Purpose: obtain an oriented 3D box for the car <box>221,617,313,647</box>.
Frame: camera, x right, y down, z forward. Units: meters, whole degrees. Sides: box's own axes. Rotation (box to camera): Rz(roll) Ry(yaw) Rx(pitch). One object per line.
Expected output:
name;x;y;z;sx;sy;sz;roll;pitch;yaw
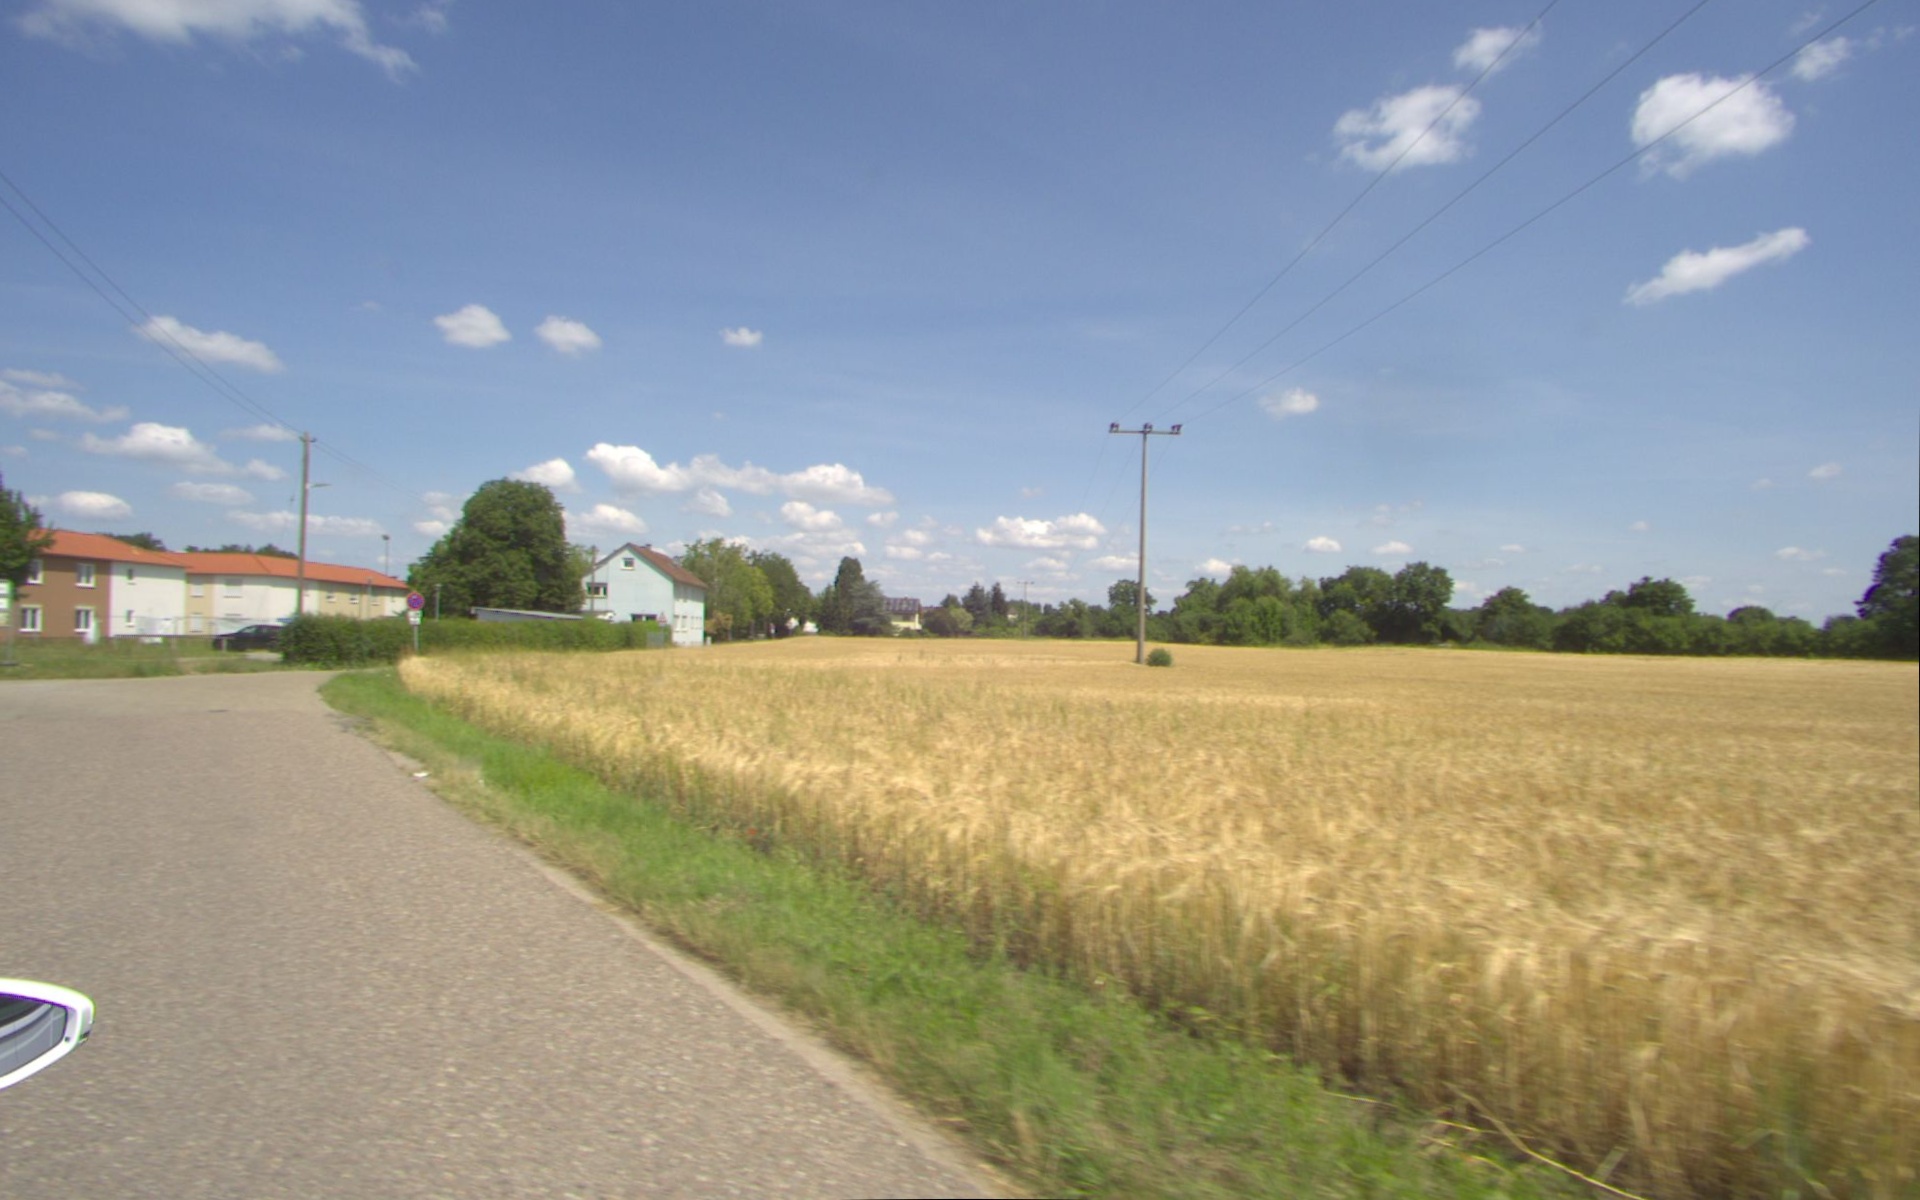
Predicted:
car;-42.001;1.949;60.726;4.069;1.635;2.000;2;-2;-6
